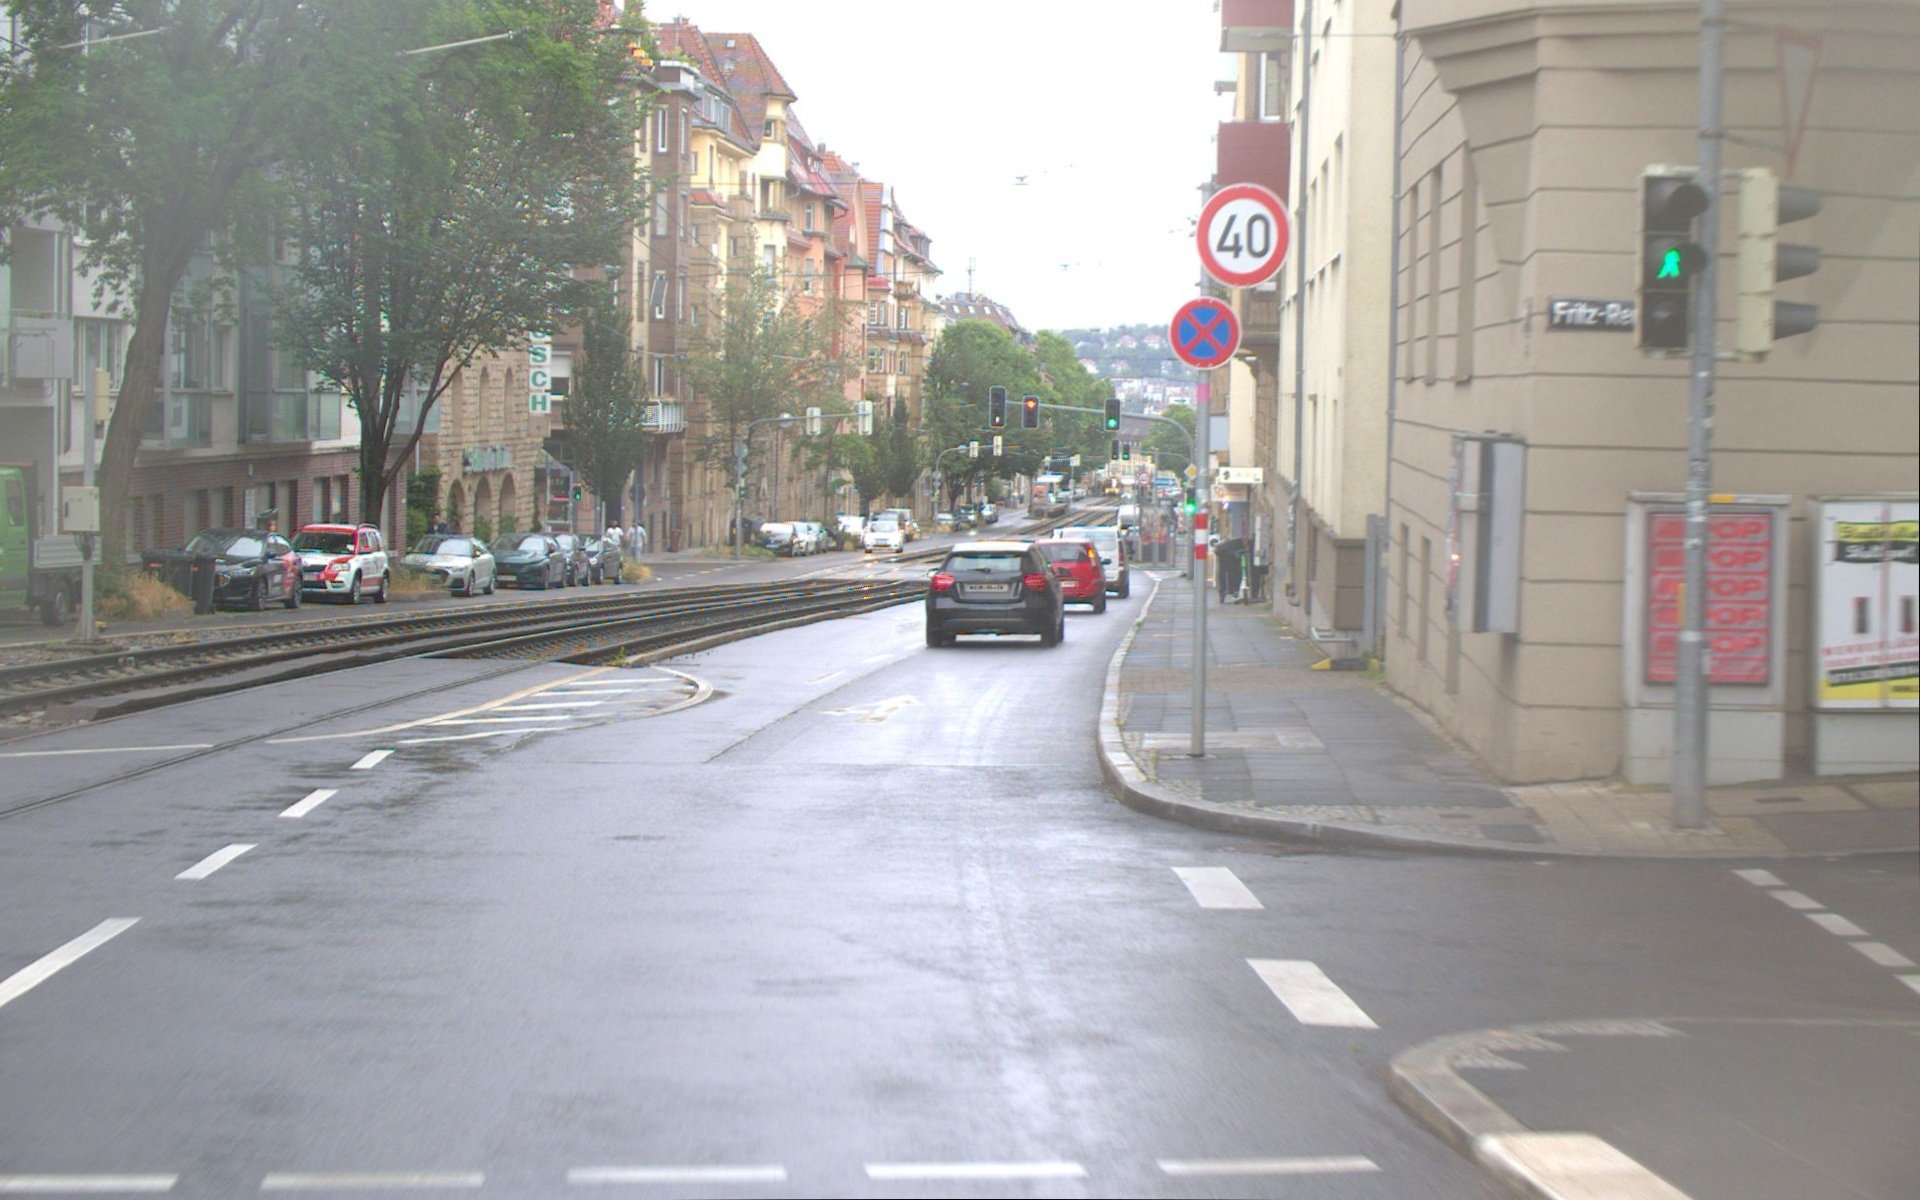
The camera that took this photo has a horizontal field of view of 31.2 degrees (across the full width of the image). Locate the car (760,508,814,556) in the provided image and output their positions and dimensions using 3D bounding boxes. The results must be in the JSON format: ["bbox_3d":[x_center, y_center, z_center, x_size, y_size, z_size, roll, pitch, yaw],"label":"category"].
[{"bbox_3d":[-7.552,-2.968,150.777,1.993,2.007,4.346,-1,0,2],"label":"car"}]

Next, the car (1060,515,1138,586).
[{"bbox_3d":[3.670,-1.308,91.343,1.948,1.787,4.144,1,0,2],"label":"car"}]

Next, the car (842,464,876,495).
[{"bbox_3d":[-6.693,-8.011,228.609,1.993,2.007,4.000,1,1,2],"label":"car"}]

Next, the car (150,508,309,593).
[{"bbox_3d":[-13.206,-0.886,62.359,1.773,1.448,4.255,-1,0,3],"label":"car"}]

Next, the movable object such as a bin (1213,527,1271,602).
[{"bbox_3d":[6.293,-0.793,76.891,1.168,1.649,1.309,-1,1,0],"label":"movable object such as a bin"}]

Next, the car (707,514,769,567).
[{"bbox_3d":[-8.740,-2.340,135.753,1.993,2.007,4.346,-1,0,2],"label":"car"}]

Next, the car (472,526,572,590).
[{"bbox_3d":[-11.389,-1.105,89.667,1.773,1.614,4.255,-1,1,4],"label":"car"}]

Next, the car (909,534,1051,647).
[{"bbox_3d":[0.323,-0.168,47.723,1.852,1.468,4.000,1,1,2],"label":"car"}]

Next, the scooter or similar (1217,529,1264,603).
[{"bbox_3d":[6.151,-0.758,75.389,0.918,1.599,0.862,1,1,-1],"label":"scooter or similar"}]

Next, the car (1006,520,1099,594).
[{"bbox_3d":[1.922,-0.889,71.728,1.852,1.468,4.000,1,0,2],"label":"car"}]

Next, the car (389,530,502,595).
[{"bbox_3d":[-12.091,-0.883,81.009,1.773,1.483,4.255,-1,0,4],"label":"car"}]

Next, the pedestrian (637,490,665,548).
[{"bbox_3d":[-10.806,-2.835,120.212,0.872,2.007,0.704,-1,0,2],"label":"pedestrian"}]

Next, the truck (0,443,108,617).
[{"bbox_3d":[-14.137,-0.987,48.469,2.052,2.385,6.320,1,1,6],"label":"truck"}]

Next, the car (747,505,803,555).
[{"bbox_3d":[-7.821,-2.950,145.739,1.993,2.007,4.346,-1,0,2],"label":"car"}]

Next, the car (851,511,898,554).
[{"bbox_3d":[-4.049,-3.213,163.726,1.993,2.007,4.346,1,1,2],"label":"car"}]

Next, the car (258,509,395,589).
[{"bbox_3d":[-12.780,-1.034,69.591,1.773,1.541,4.255,-1,1,3],"label":"car"}]
